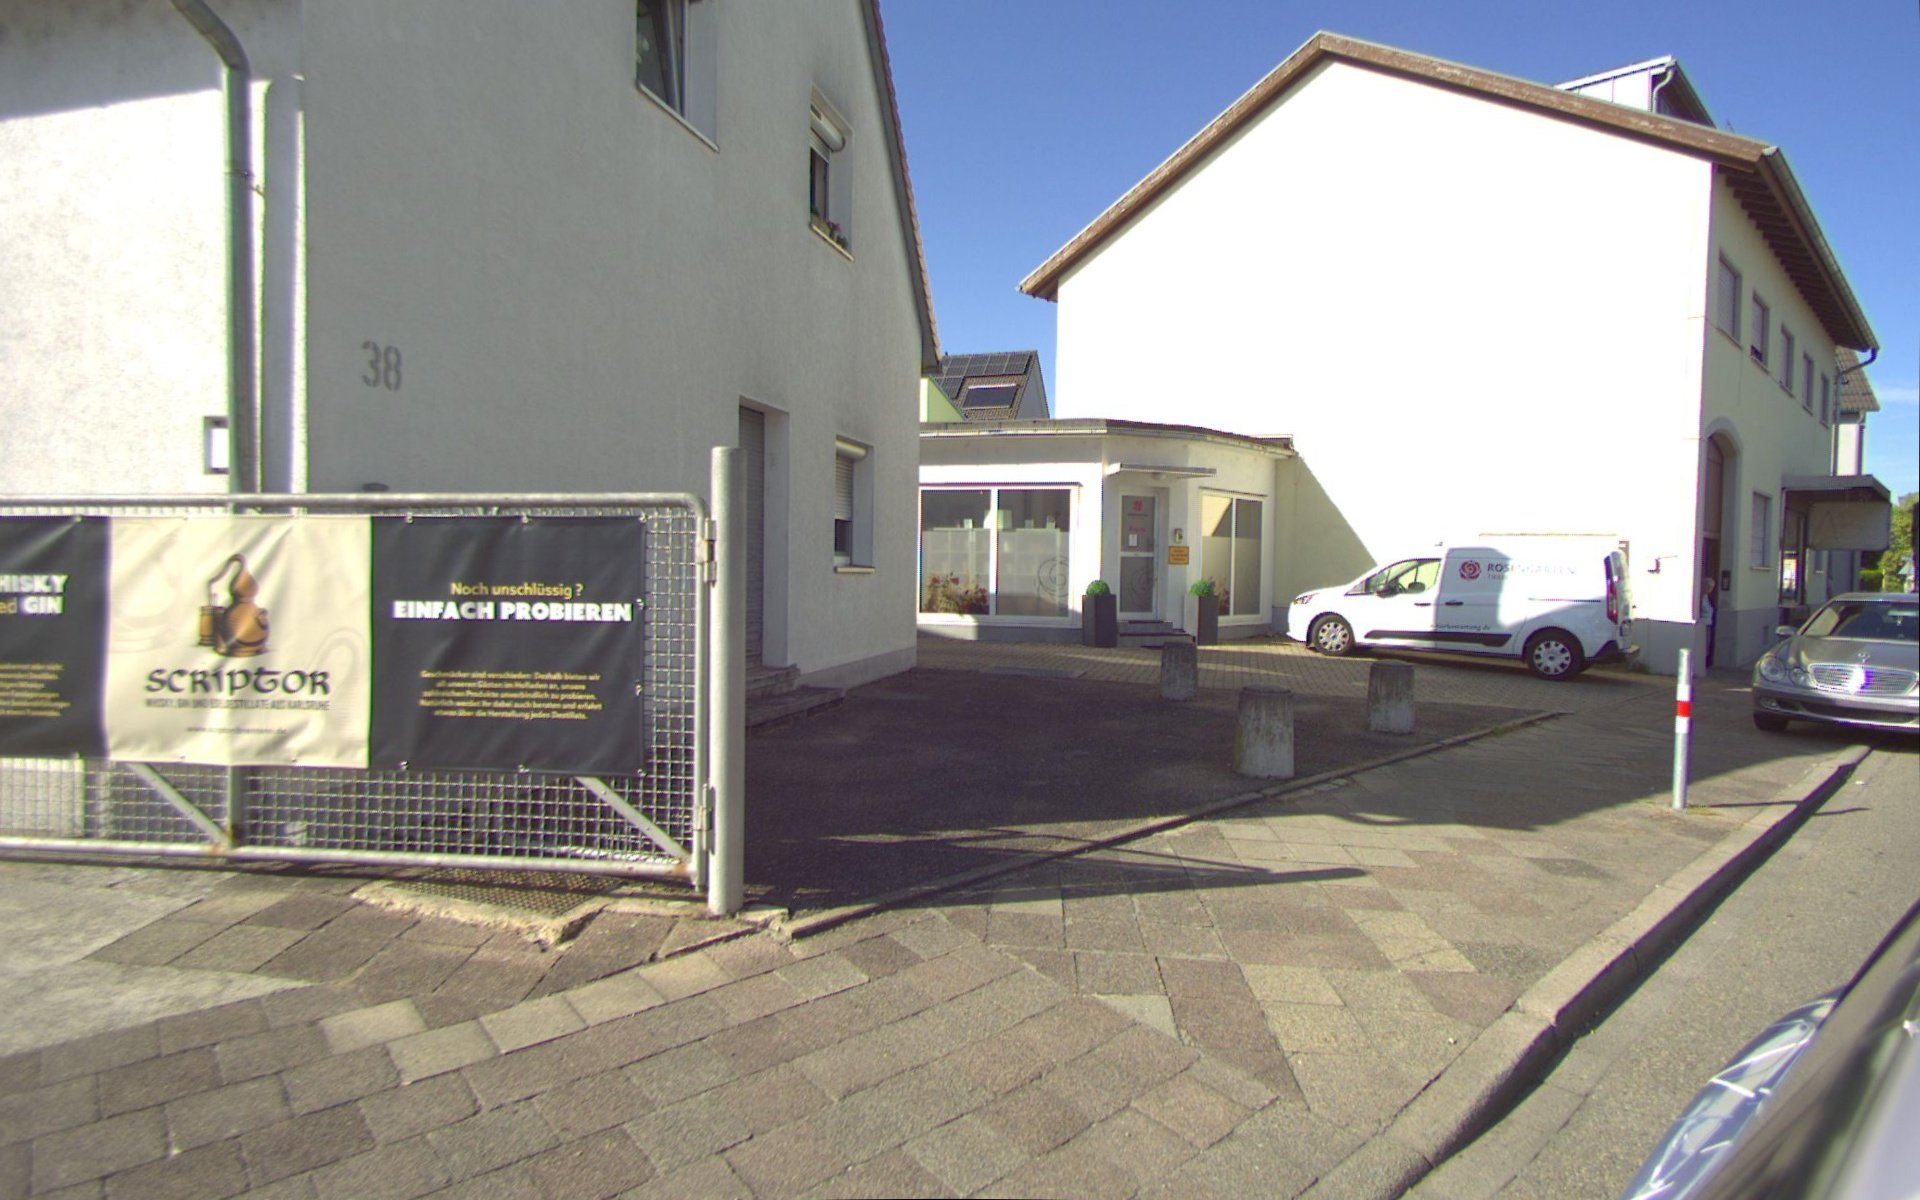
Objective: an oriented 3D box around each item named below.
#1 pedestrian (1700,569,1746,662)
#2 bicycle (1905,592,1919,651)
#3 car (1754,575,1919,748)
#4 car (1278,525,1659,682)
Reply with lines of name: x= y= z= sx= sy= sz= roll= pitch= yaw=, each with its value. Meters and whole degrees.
pedestrian: x=13.226 y=0.251 z=17.541 sx=0.564 sy=1.571 sz=0.758 roll=1 pitch=1 yaw=43
bicycle: x=20.028 y=0.438 z=20.957 sx=1.482 sy=1.171 sz=0.508 roll=-1 pitch=3 yaw=-42
car: x=10.071 y=0.529 z=10.544 sx=4.576 sy=1.493 sz=1.816 roll=-1 pitch=3 yaw=-39
car: x=7.522 y=-0.082 z=15.288 sx=4.760 sy=1.909 sz=1.881 roll=5 pitch=4 yaw=41
